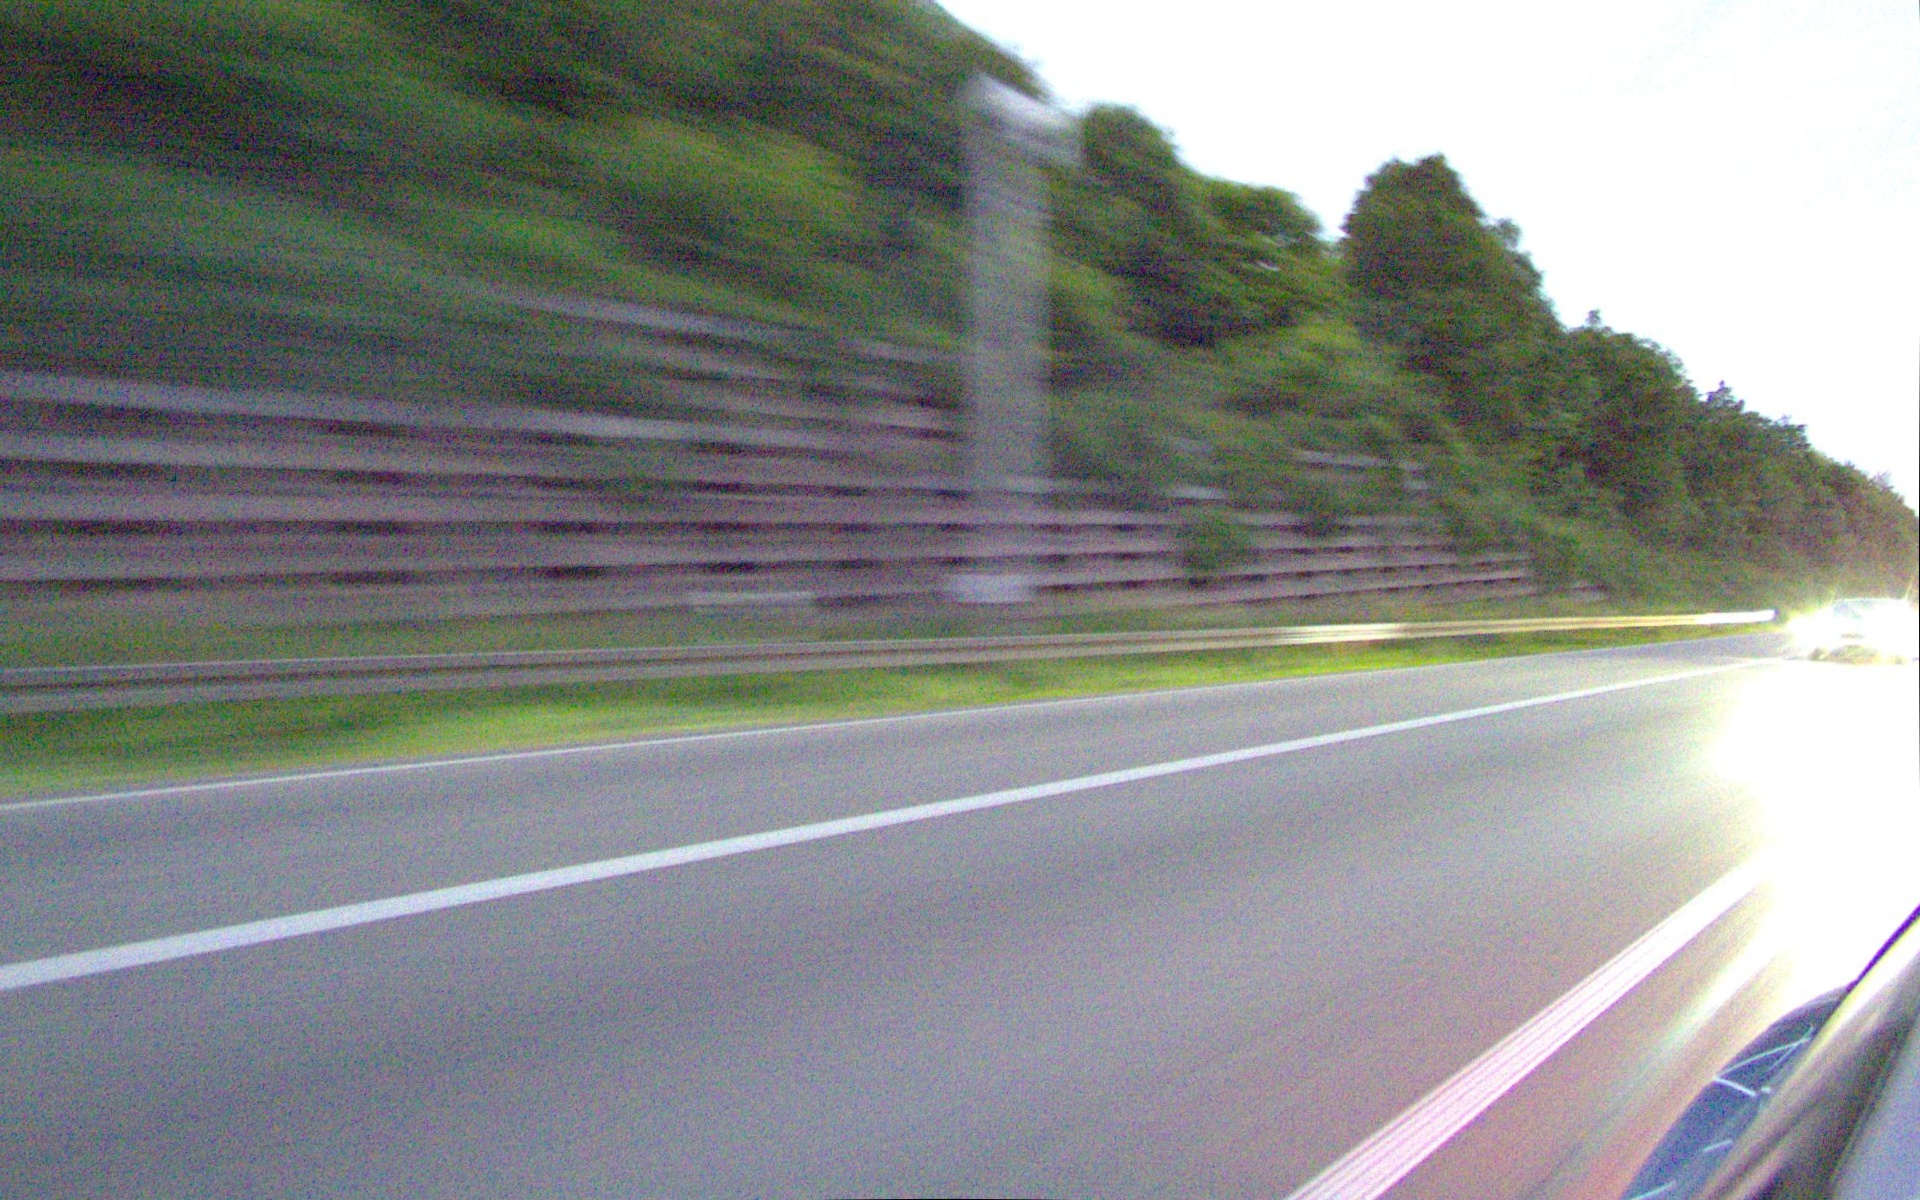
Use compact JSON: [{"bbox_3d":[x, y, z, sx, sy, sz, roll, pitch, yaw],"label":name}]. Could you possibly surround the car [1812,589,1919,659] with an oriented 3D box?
[{"bbox_3d":[21.512,0.485,23.644,4.505,1.454,1.868,-1,1,-42],"label":"car"}]
